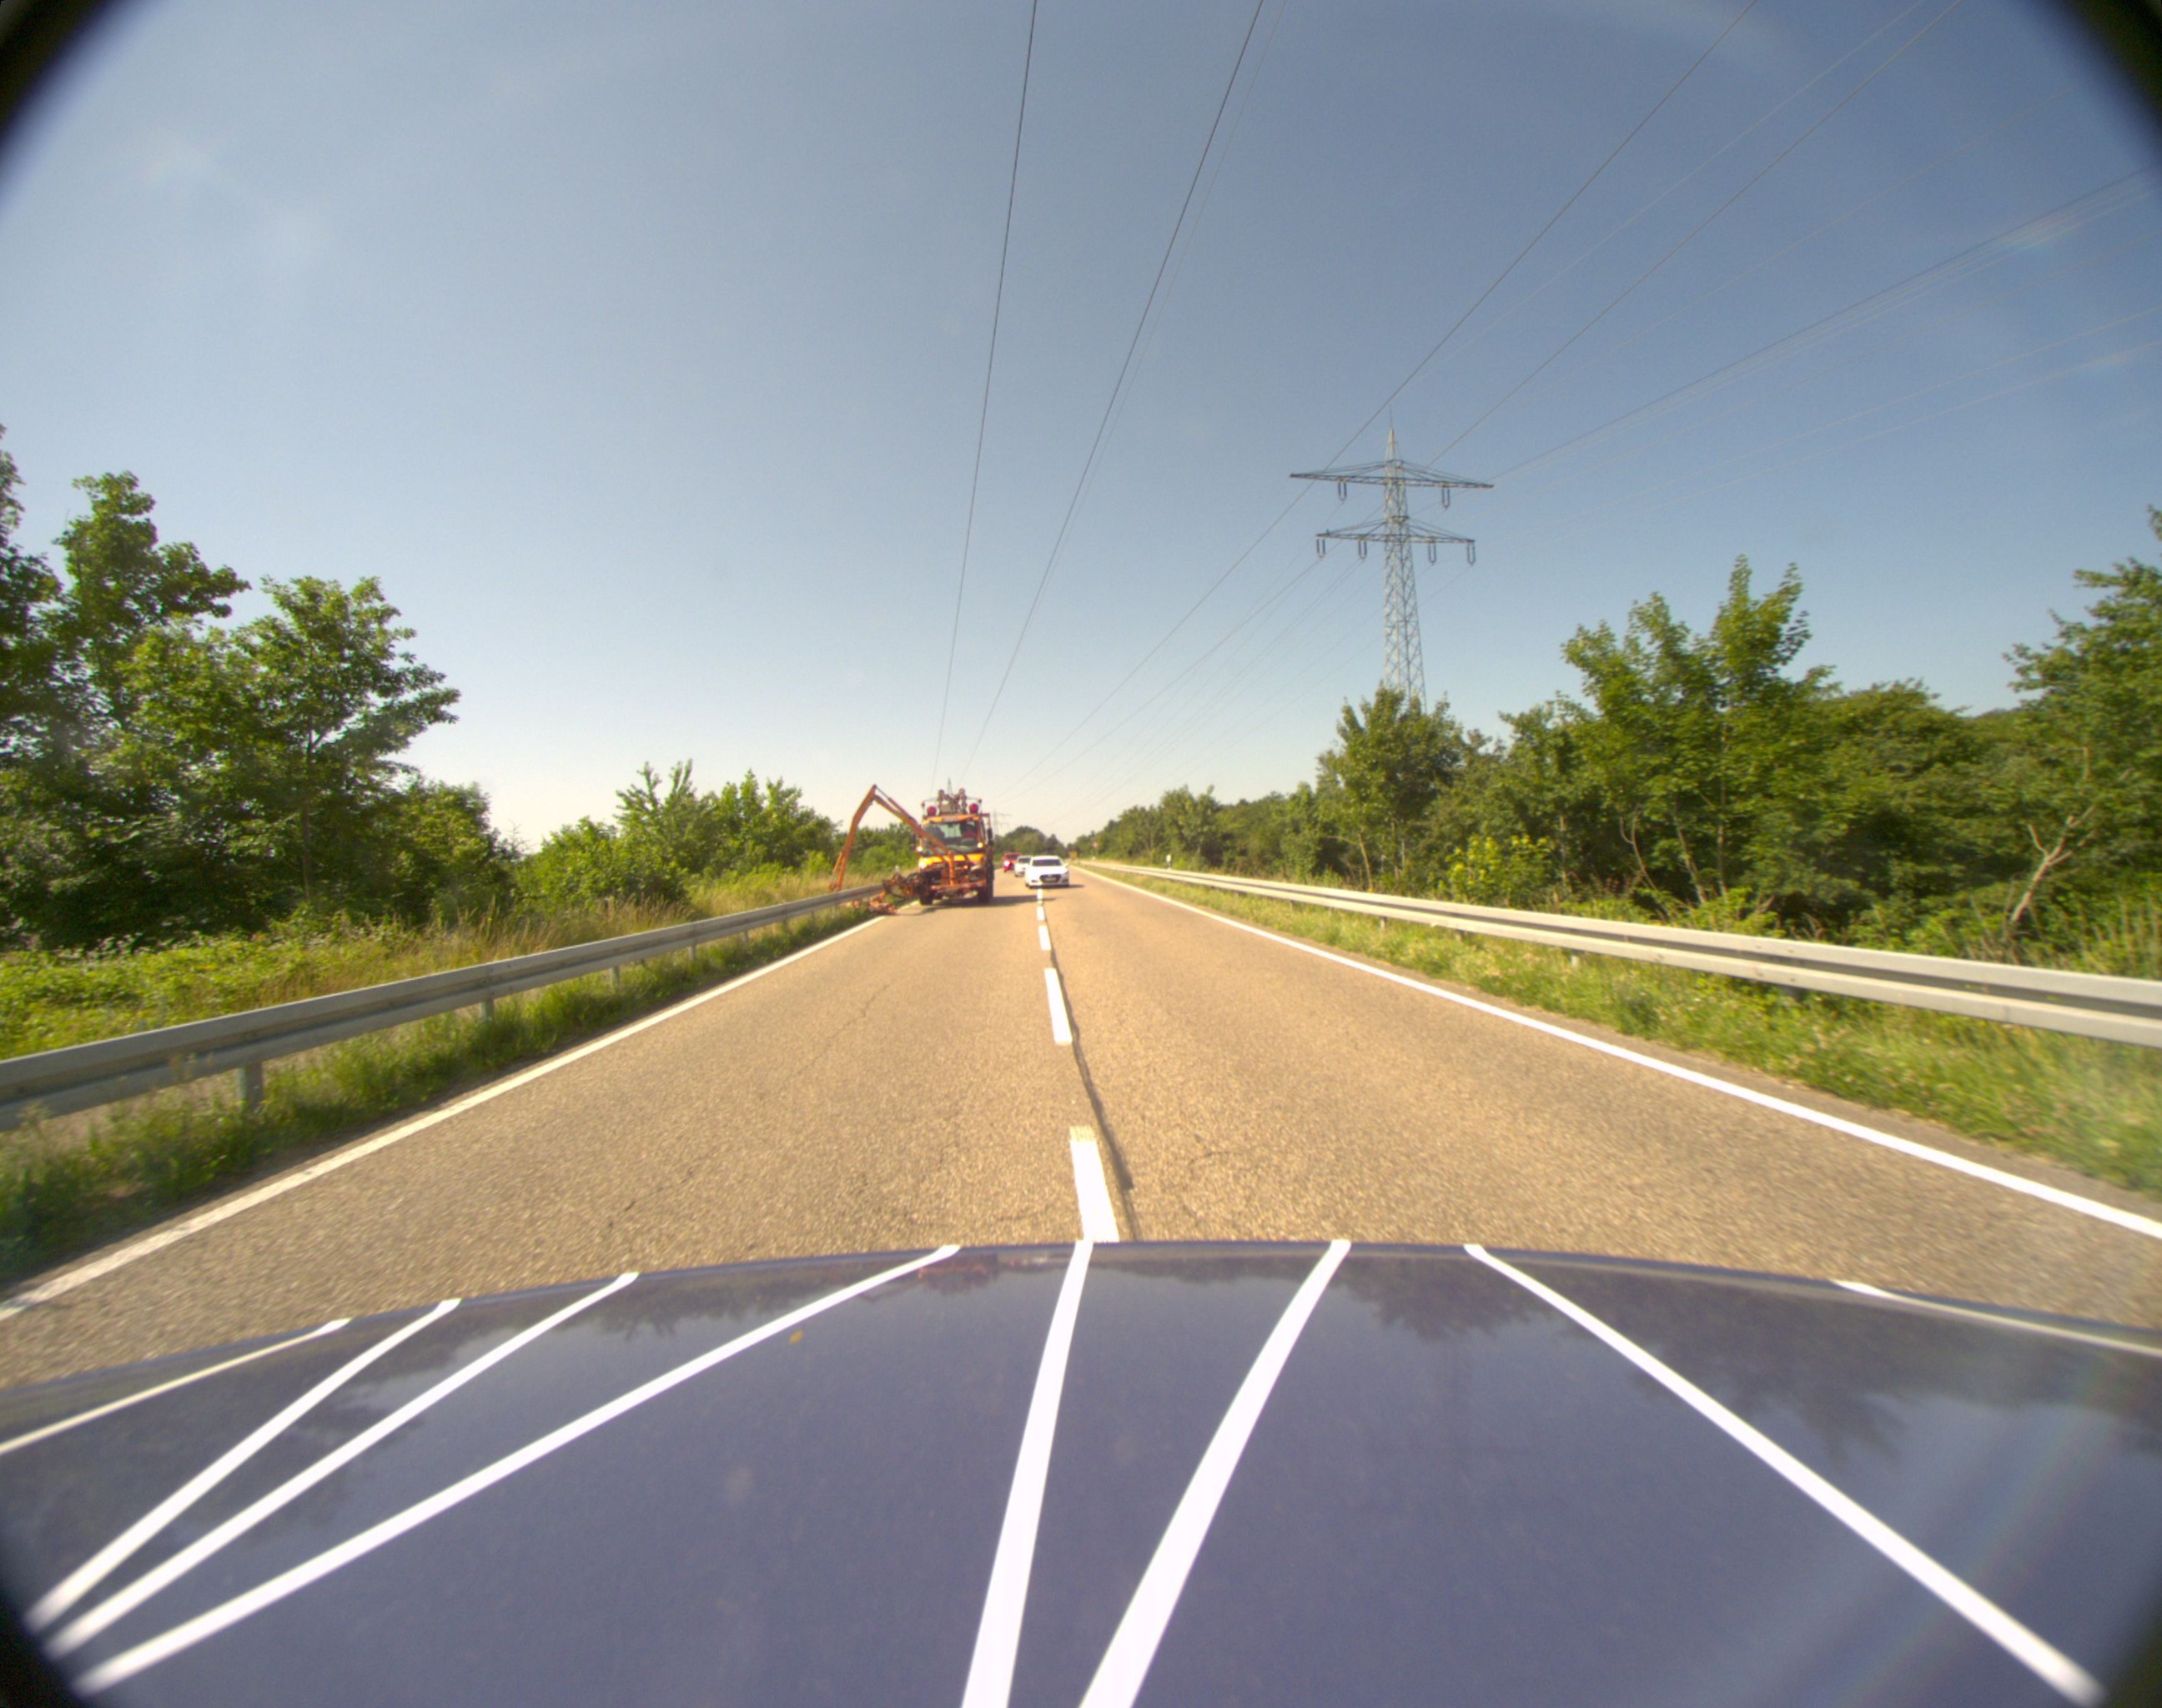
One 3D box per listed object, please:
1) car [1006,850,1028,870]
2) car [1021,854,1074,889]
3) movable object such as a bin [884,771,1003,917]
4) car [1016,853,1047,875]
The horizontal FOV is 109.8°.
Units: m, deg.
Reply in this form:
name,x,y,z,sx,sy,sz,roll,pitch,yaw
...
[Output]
name,x,y,z,sx,sy,sz,roll,pitch,yaw
car,-6.684,0.652,79.203,2.127,1.934,5.016,-2,0,-6
car,-1.665,0.781,35.830,1.924,1.496,4.789,-2,0,-9
movable object such as a bin,-4.177,-0.266,25.121,2.761,3.817,9.441,-2,0,-4
car,-3.820,0.746,57.896,1.924,1.540,4.789,-2,0,-9
